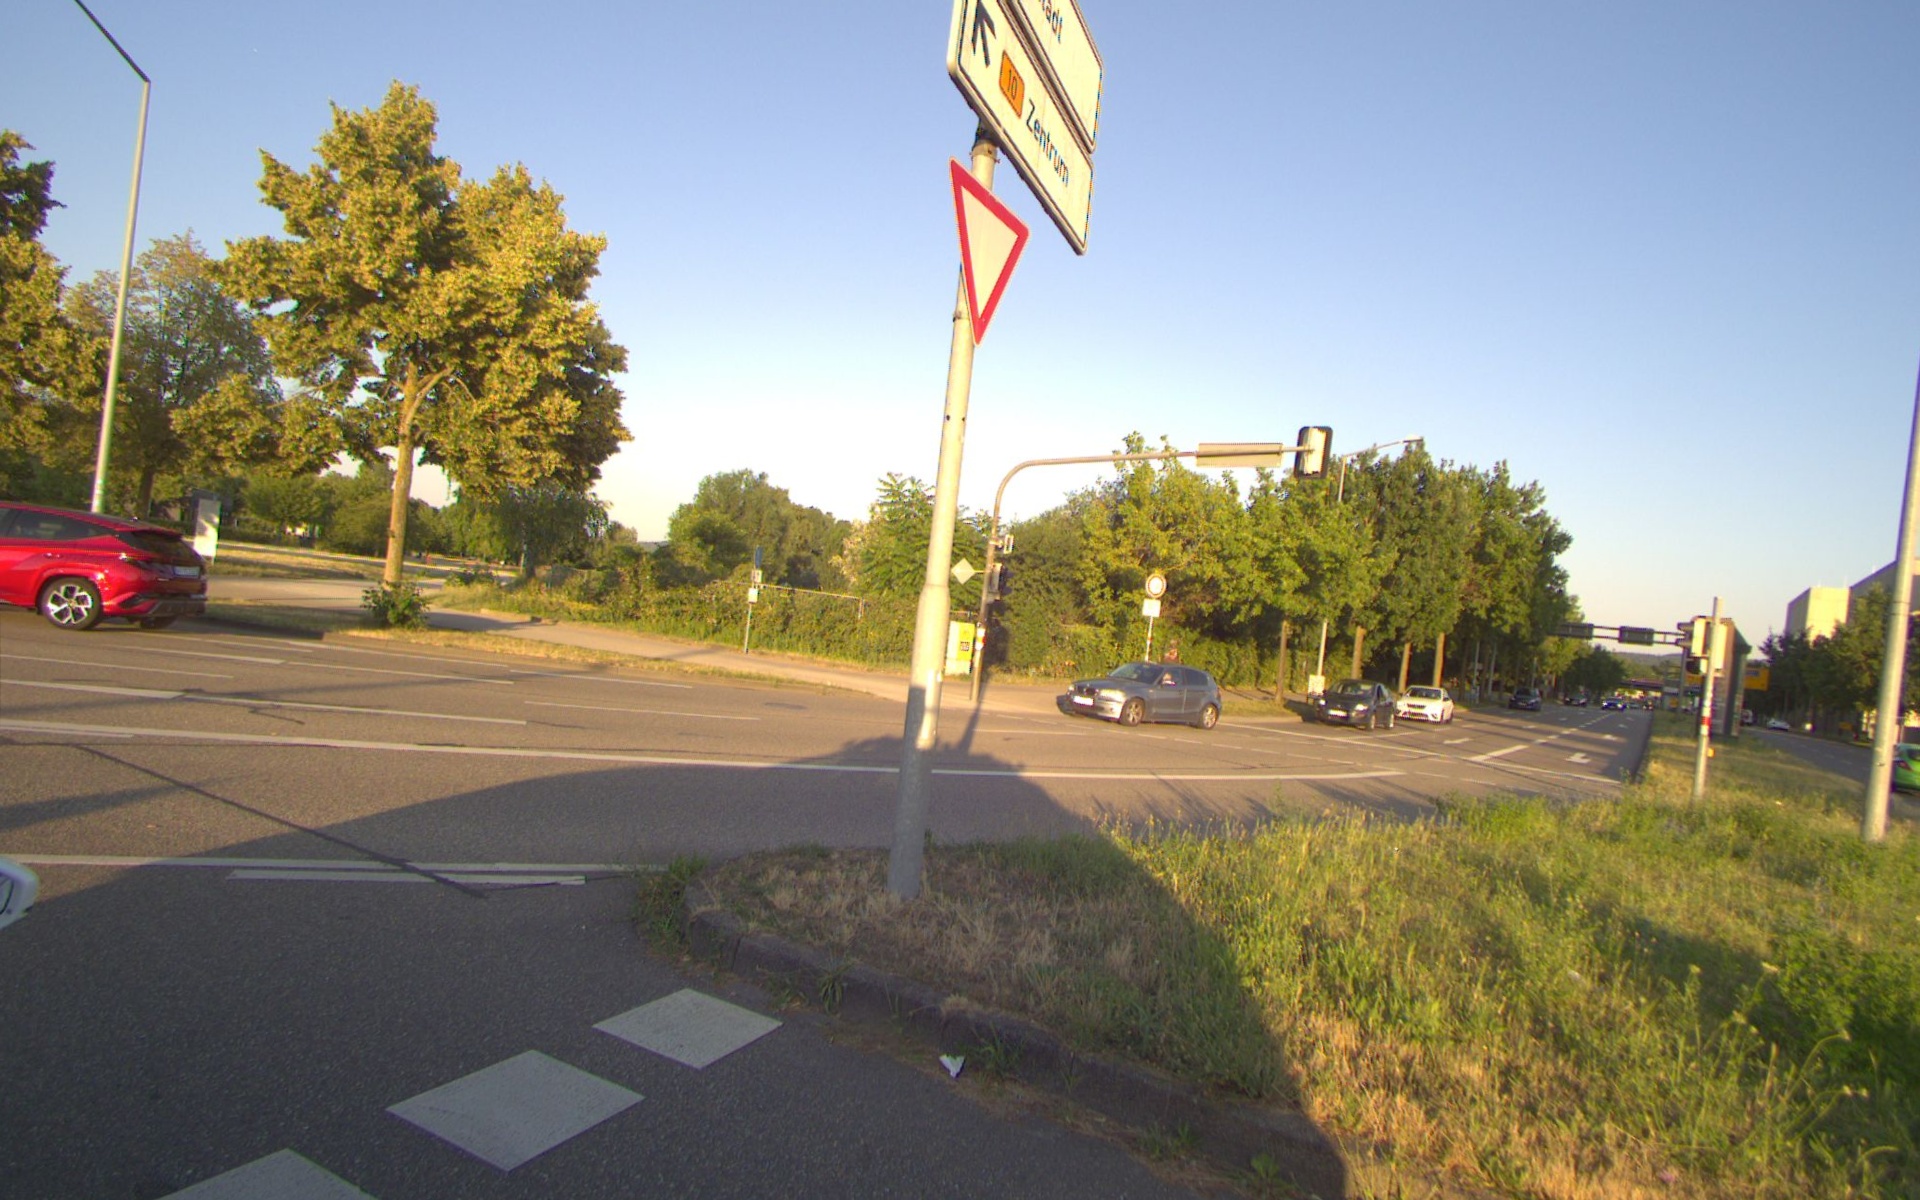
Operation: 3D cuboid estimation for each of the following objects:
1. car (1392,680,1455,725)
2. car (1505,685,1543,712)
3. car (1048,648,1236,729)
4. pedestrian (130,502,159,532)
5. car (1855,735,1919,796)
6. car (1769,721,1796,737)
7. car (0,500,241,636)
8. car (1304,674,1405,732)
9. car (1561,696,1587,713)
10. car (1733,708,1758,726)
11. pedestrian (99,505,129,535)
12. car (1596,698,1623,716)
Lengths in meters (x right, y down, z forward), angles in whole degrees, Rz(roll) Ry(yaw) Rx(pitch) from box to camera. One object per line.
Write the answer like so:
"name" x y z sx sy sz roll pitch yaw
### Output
"car" 18.555 4.063 40.187 1.836 1.471 3.966 7 -1 30
"car" 40.129 7.041 71.530 1.885 1.602 4.170 7 -1 34
"car" 4.090 1.985 22.278 4.133 1.406 1.847 8 -2 -41
"pedestrian" -50.273 -5.112 61.997 0.896 1.637 1.070 7 0 34
"car" 27.619 4.870 29.053 1.661 1.437 3.993 12 2 31
"car" 97.094 15.236 118.776 1.968 1.444 4.188 7 -1 34
"car" -13.391 -0.572 14.510 4.341 1.592 1.997 7 0 -9
"car" 12.234 3.172 31.055 1.839 1.471 4.151 6 -2 35
"car" 64.637 10.999 105.871 1.968 1.523 4.609 7 -1 34
"car" 98.858 14.697 126.633 2.036 1.970 4.947 7 -1 36
"pedestrian" -51.958 -4.908 61.774 0.896 1.637 1.070 7 0 34
"car" 66.637 10.968 103.150 1.969 1.523 4.758 7 -1 35
